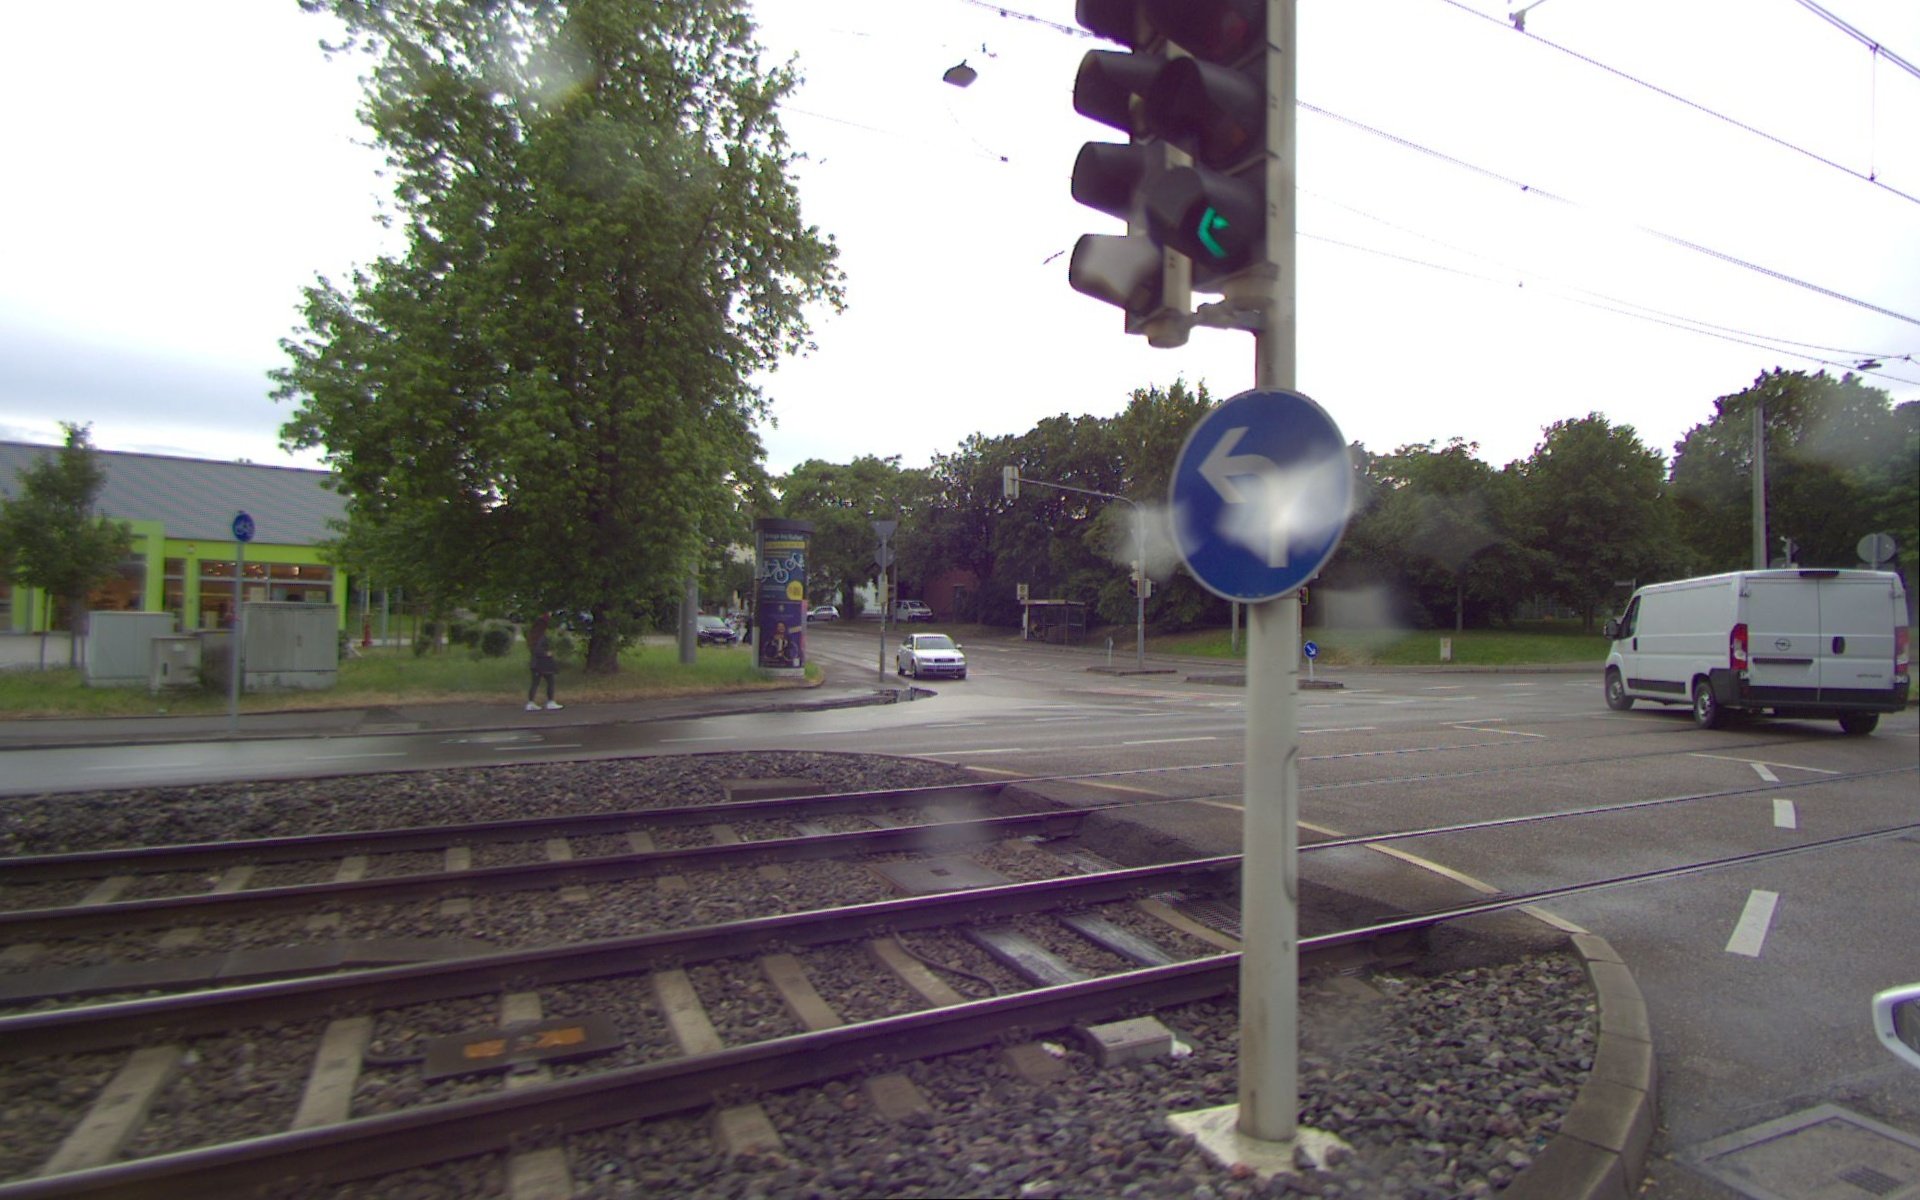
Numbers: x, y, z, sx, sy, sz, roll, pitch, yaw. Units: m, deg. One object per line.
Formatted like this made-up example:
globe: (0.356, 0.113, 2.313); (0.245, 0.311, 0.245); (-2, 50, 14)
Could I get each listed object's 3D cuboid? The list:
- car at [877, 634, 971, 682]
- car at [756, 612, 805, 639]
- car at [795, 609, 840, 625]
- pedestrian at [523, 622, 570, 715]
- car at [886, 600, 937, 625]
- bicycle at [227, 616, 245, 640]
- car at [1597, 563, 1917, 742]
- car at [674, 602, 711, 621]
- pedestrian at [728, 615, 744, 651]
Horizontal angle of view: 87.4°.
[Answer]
car: (-1.282, 1.899, 33.397); (1.570, 1.455, 4.401); (1, -3, -24)
car: (-10.418, 1.496, 58.172); (1.671, 1.502, 3.972); (1, -2, -28)
car: (-13.682, 1.616, 96.570); (3.961, 1.441, 1.687); (0, -1, -36)
pedestrian: (-7.156, 1.172, 17.374); (0.660, 1.552, 0.589); (3, 0, -26)
car: (-3.949, 1.006, 81.420); (1.977, 1.829, 5.105); (3, -1, -30)
bicycle: (-31.951, 1.228, 44.336); (0.528, 0.995, 1.601); (1, -1, -33)
car: (12.053, 0.710, 15.738); (2.110, 2.314, 5.064); (-1, -1, 16)
car: (-24.284, 0.990, 90.942); (1.825, 1.554, 4.159); (3, 0, -36)
pedestrian: (-10.643, 1.561, 47.623); (0.597, 1.623, 0.675); (3, 0, -19)
